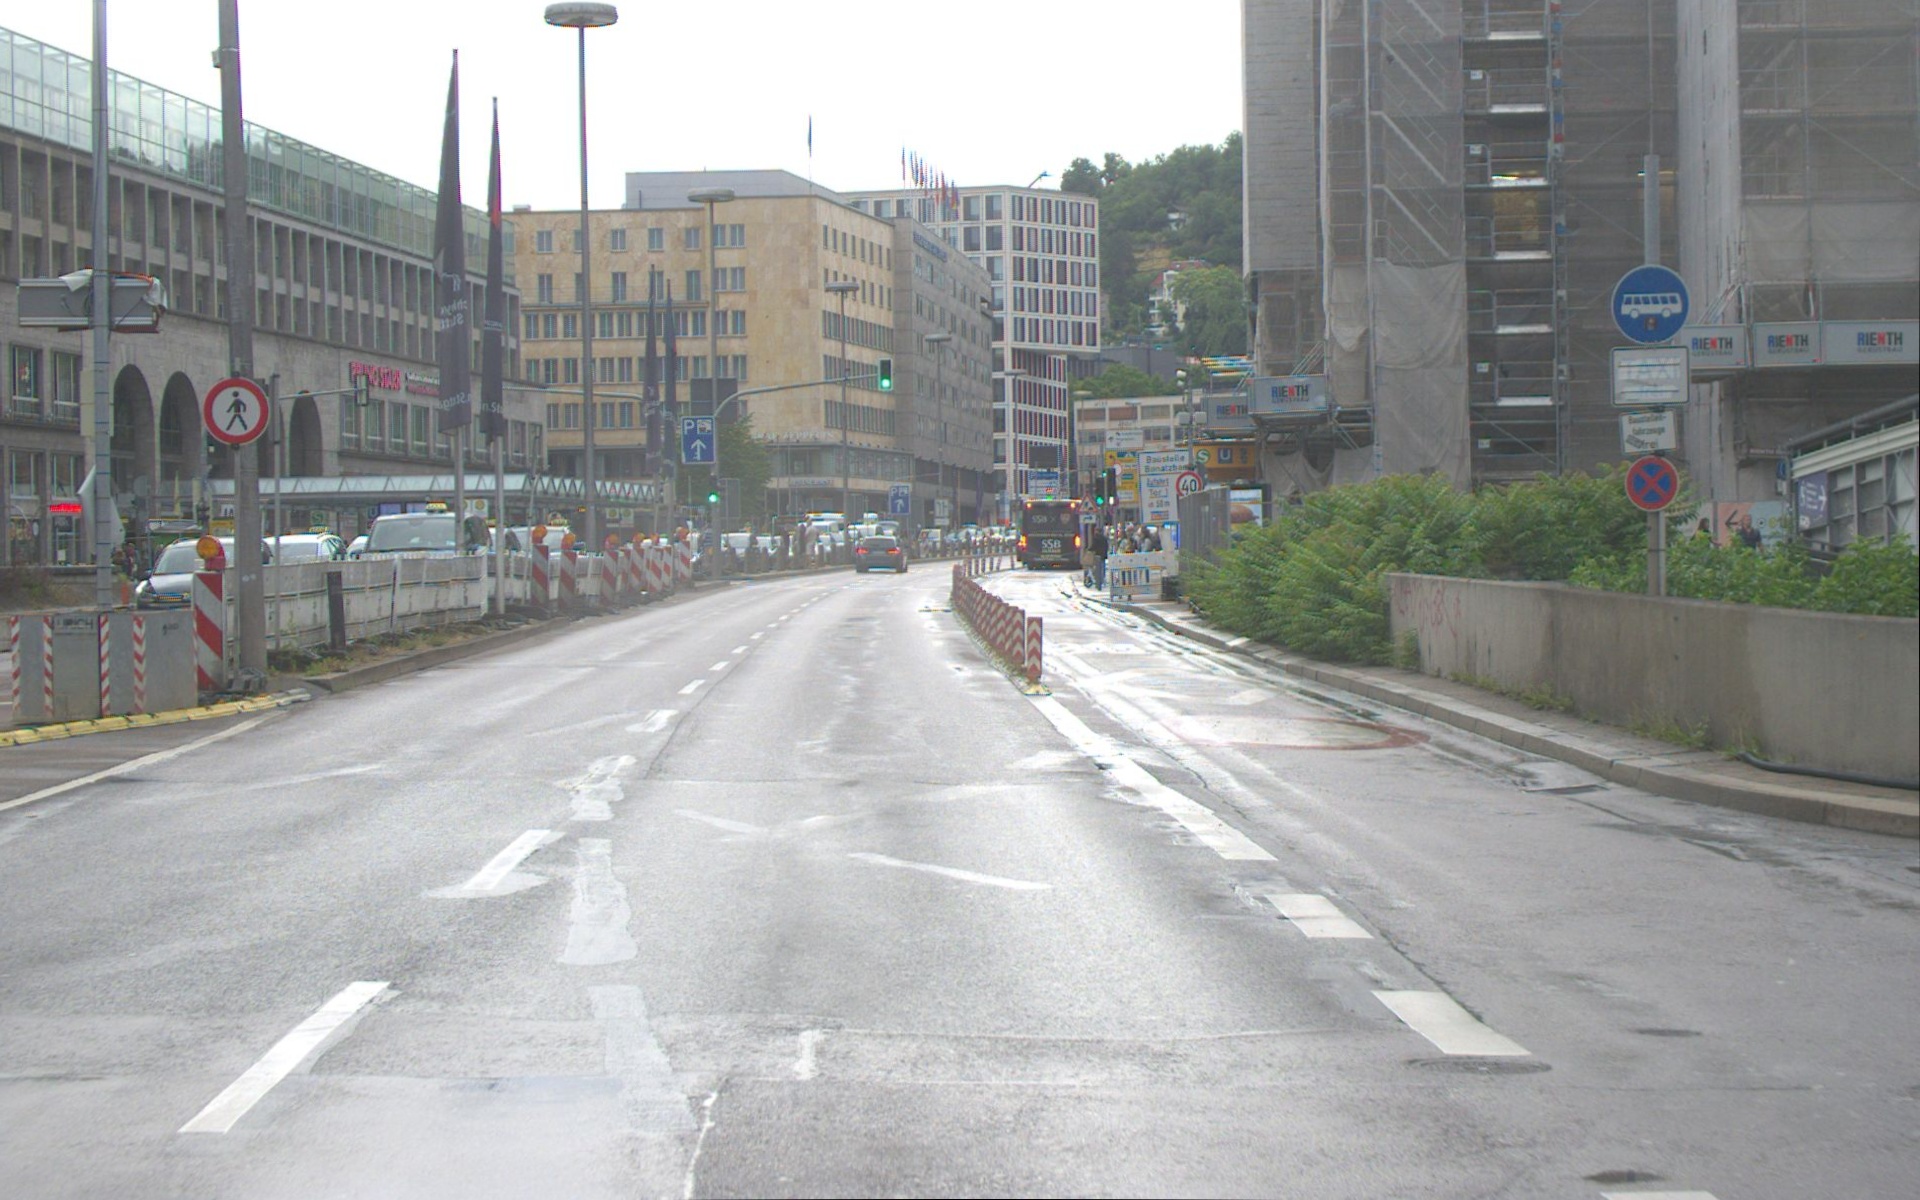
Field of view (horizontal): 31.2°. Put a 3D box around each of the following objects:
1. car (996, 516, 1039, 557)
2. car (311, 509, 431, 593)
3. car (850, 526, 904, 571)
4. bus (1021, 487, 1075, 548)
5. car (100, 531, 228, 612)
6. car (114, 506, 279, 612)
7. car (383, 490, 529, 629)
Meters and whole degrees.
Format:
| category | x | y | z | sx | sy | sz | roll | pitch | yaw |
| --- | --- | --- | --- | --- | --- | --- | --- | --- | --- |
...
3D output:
| category | x | y | z | sx | sy | sz | roll | pitch | yaw |
| --- | --- | --- | --- | --- | --- | --- | --- | --- | --- |
| car | 3.115 | -3.402 | 185.411 | 1.994 | 2.007 | 3.999 | -3 | -1 | 4 |
| car | -12.267 | -1.006 | 71.829 | 1.902 | 1.523 | 4.177 | -3 | -1 | -3 |
| car | -3.250 | -1.982 | 133.675 | 1.902 | 1.523 | 4.177 | -3 | -1 | -3 |
| bus | 3.859 | -3.576 | 150.180 | 1.994 | 2.423 | 3.999 | -3 | -1 | 5 |
| car | -17.062 | -0.594 | 73.865 | 1.902 | 1.523 | 4.177 | -3 | -1 | -3 |
| car | -12.536 | -0.652 | 56.671 | 1.902 | 1.523 | 4.177 | -3 | -1 | -3 |
| car | -8.282 | -0.626 | 56.789 | 1.902 | 2.075 | 4.177 | -3 | -1 | -3 |
